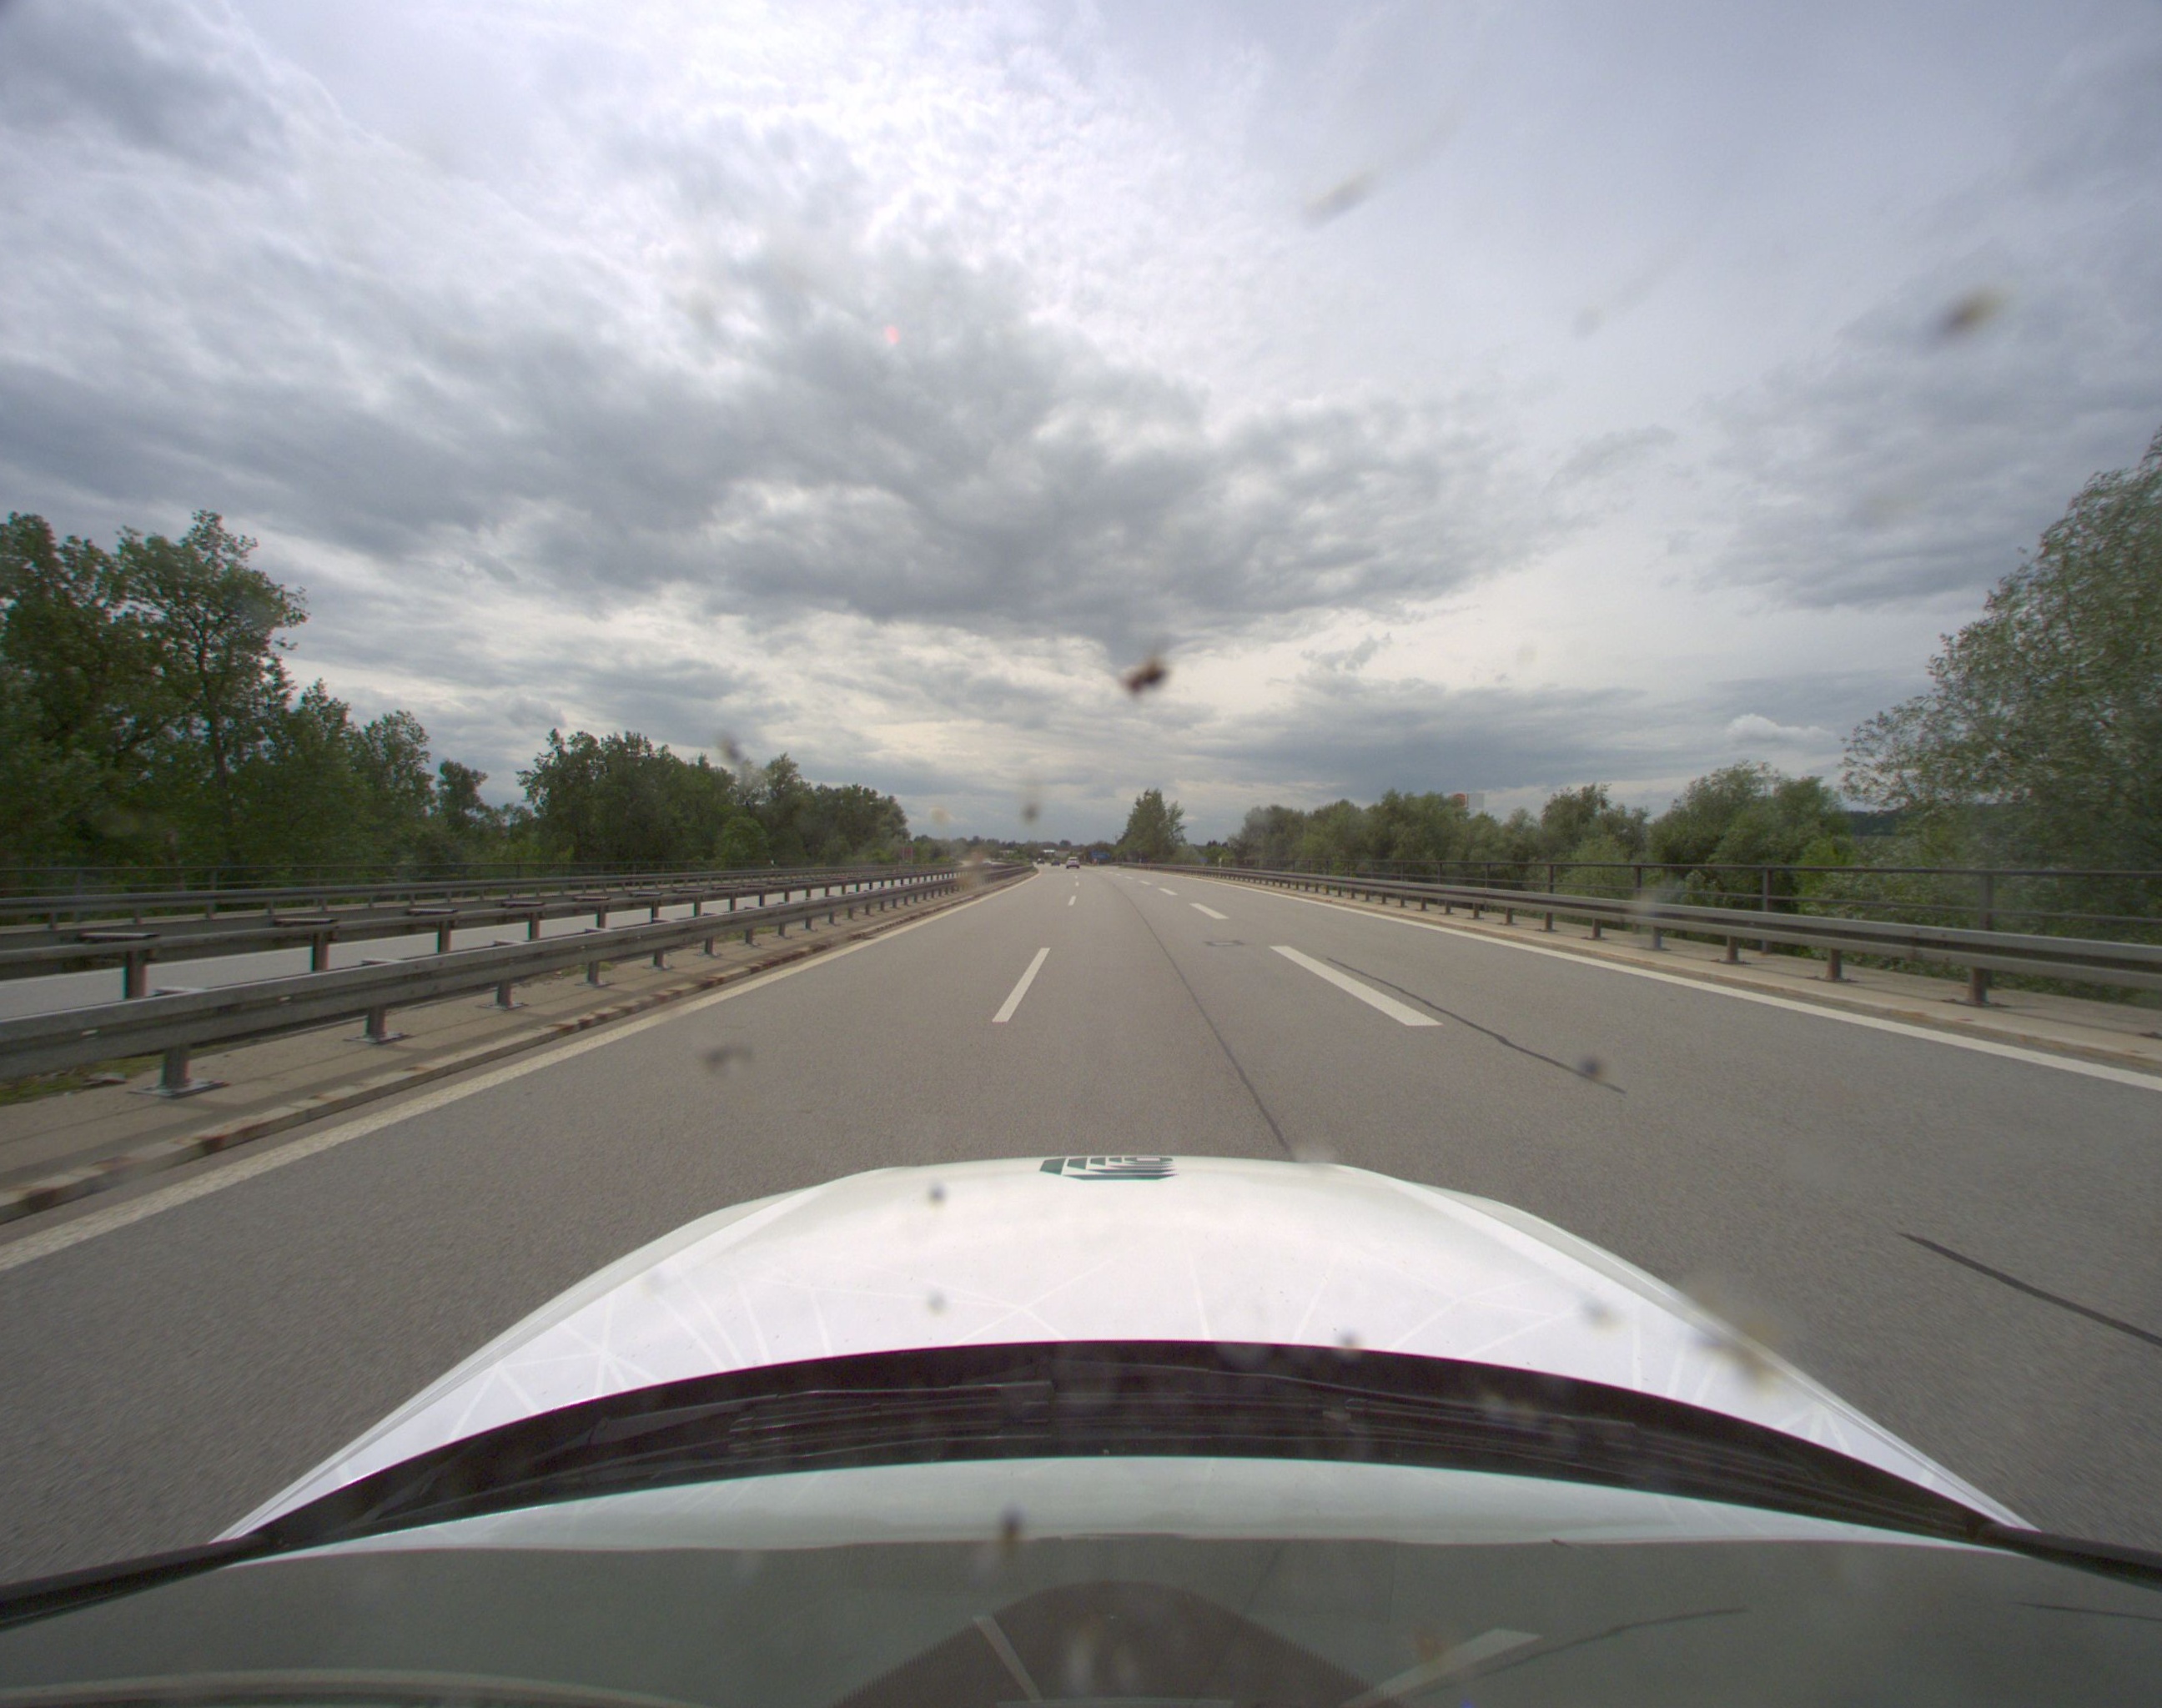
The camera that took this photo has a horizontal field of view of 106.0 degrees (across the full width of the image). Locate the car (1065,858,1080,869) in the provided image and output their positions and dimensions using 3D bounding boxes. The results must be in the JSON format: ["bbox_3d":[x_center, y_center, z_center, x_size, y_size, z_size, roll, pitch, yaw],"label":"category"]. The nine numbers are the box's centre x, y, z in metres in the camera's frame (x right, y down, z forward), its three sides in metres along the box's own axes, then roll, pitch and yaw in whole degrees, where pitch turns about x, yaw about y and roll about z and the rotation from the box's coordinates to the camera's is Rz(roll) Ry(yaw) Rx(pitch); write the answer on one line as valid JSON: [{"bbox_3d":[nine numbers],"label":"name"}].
[{"bbox_3d":[-1.255,1.383,121.398,1.899,1.640,4.388,0,0,-5],"label":"car"}]

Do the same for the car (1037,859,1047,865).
[{"bbox_3d":[-10.319,2.182,215.012,1.903,1.640,4.762,0,0,-10],"label":"car"}]

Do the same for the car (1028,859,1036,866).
[{"bbox_3d":[-15.075,2.586,248.449,1.828,1.794,4.395,0,0,-12],"label":"car"}]

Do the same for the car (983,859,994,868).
[{"bbox_3d":[-18.180,1.840,160.311,1.638,1.715,4.976,0,0,-2],"label":"car"}]

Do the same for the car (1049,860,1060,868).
[{"bbox_3d":[-5.614,2.068,172.343,1.891,1.640,4.608,0,0,-8],"label":"car"}]
